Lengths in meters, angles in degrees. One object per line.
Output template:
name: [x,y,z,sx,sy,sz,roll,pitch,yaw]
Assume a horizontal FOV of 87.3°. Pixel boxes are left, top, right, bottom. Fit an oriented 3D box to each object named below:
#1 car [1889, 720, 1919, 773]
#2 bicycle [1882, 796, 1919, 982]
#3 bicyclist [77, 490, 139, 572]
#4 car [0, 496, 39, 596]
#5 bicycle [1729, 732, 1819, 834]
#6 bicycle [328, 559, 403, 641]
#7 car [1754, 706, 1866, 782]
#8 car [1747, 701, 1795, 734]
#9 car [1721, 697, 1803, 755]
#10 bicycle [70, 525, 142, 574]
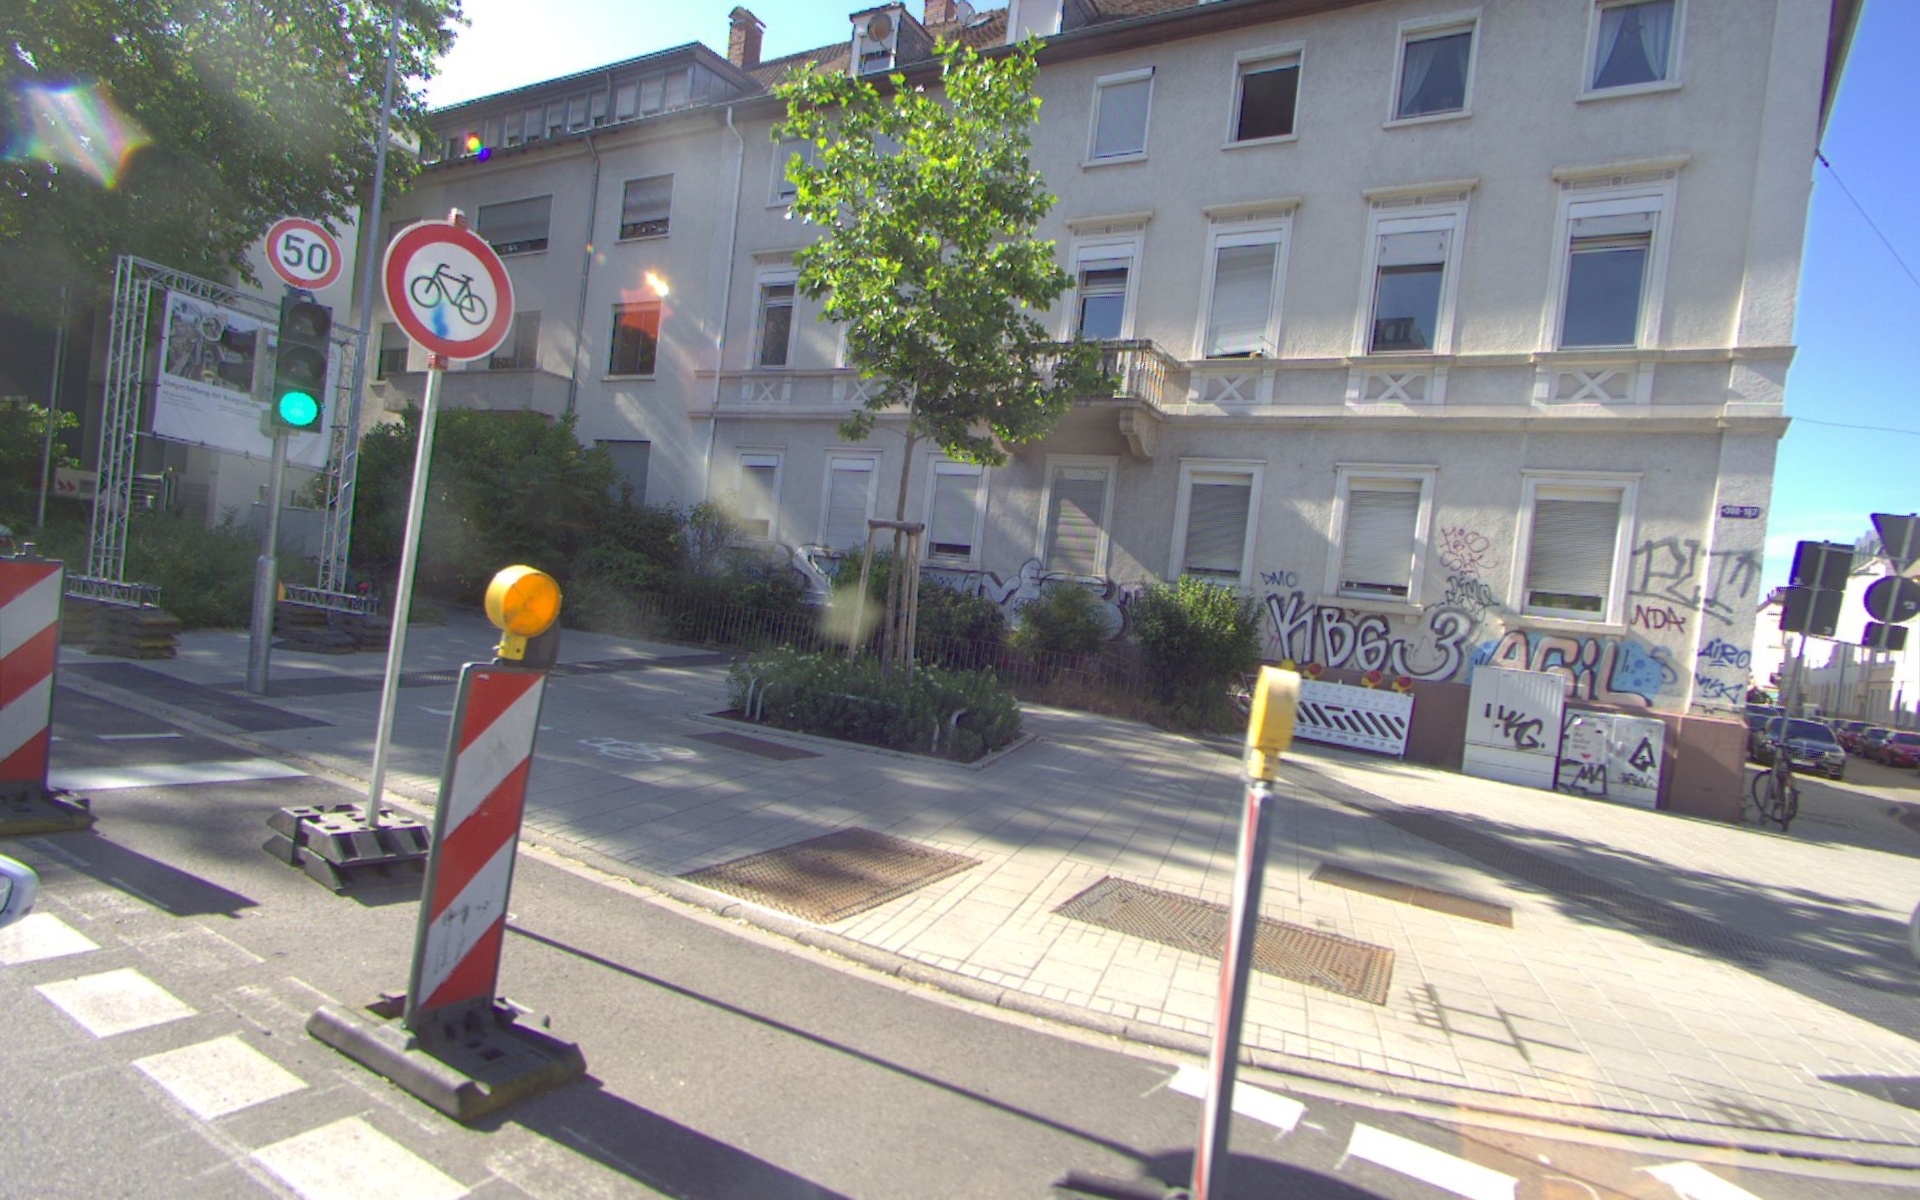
car: [35.267,5.378,36.098,1.967,1.734,3.990,7,0,33]
bicycle: [6.332,1.839,5.602,0.678,1.111,1.686,7,0,-2]
bicyclist: [-20.695,-1.676,24.425,1.053,1.843,0.725,7,1,32]
car: [-17.091,-1.122,16.178,4.857,1.497,1.855,7,0,29]
bicycle: [10.665,2.357,13.231,0.569,1.093,1.999,7,-1,32]
bicycle: [-8.361,-0.036,14.224,0.581,1.017,2.119,7,0,-24]
car: [24.478,4.090,29.121,1.969,1.734,3.988,7,-1,35]
car: [51.574,7.465,64.051,1.969,1.734,3.988,7,-1,35]
car: [29.796,4.647,37.481,1.969,1.734,3.988,7,-1,35]
bicycle: [-20.817,-1.235,24.516,1.793,0.978,0.783,7,0,33]
